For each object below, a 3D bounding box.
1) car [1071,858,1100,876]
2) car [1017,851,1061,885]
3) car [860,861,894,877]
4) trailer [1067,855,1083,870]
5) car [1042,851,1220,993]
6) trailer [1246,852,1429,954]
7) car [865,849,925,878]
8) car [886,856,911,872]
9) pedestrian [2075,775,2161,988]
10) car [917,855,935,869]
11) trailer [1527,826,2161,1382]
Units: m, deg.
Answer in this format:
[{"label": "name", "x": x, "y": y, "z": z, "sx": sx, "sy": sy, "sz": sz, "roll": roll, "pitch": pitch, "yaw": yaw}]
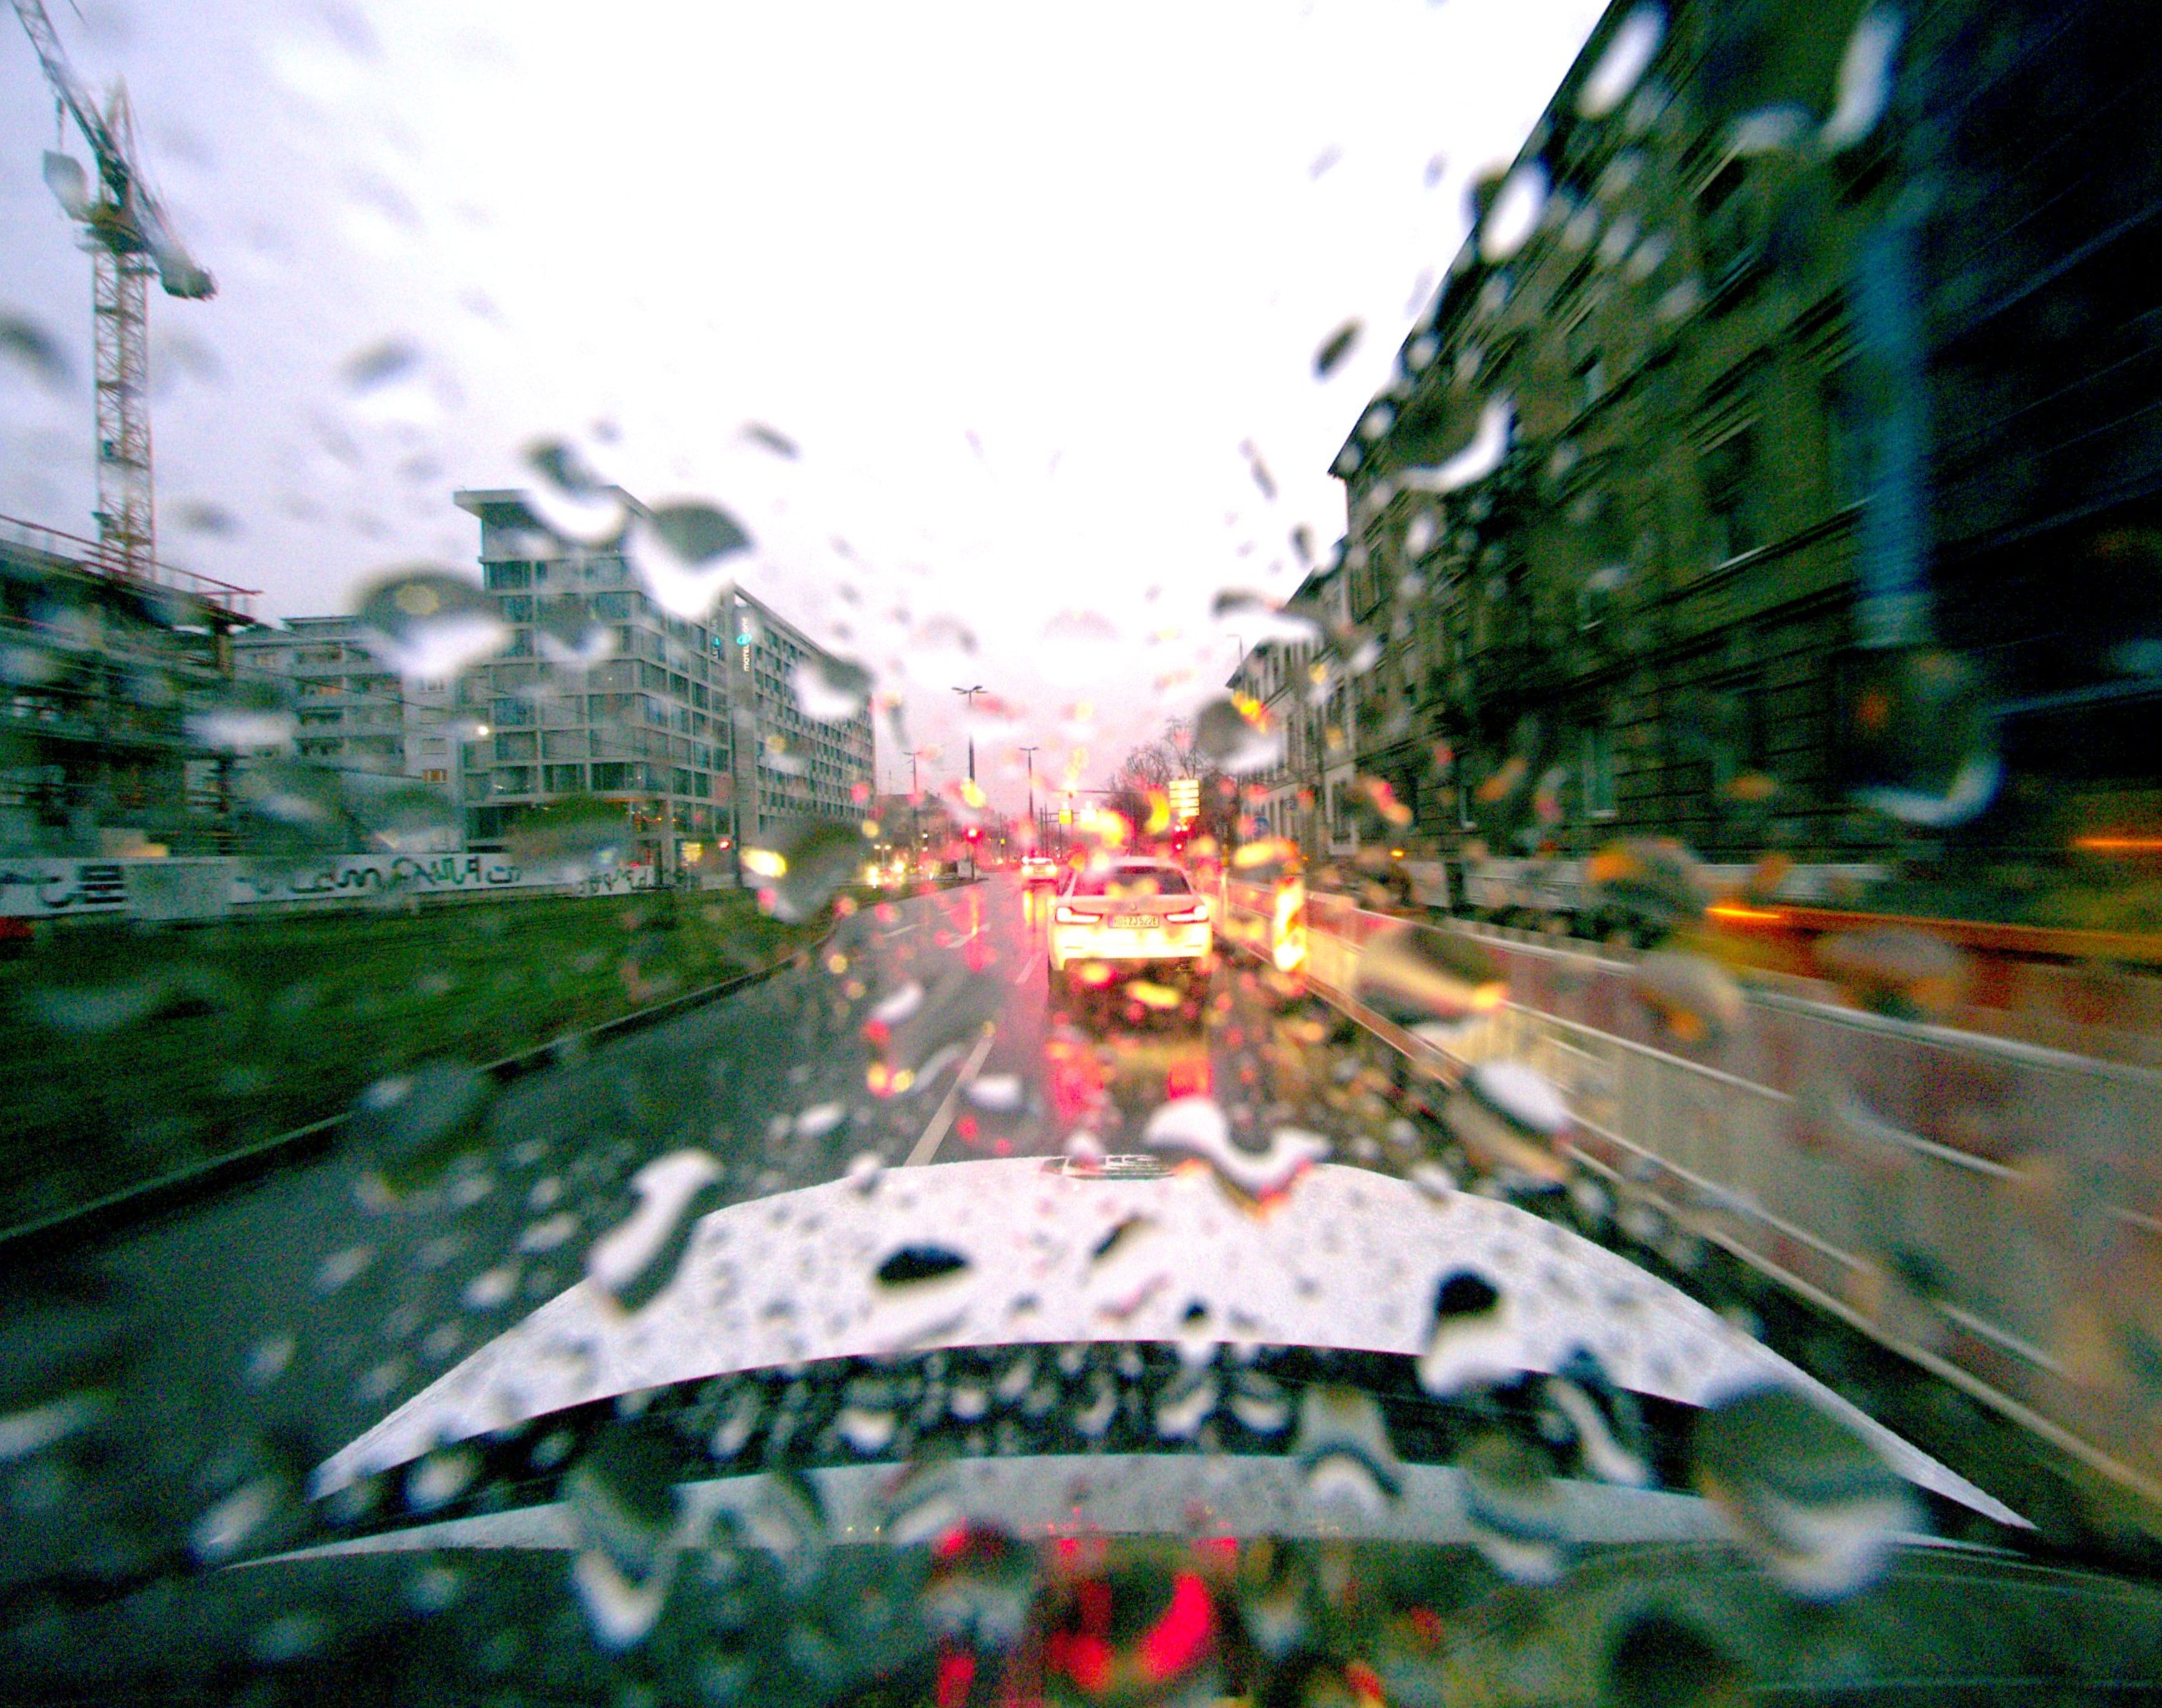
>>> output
[{"label": "car", "x": 0.426, "y": 1.235, "z": 80.077, "sx": 1.904, "sy": 1.642, "sz": 3.980, "roll": -1, "pitch": 0, "yaw": -15}, {"label": "car", "x": -2.078, "y": 0.666, "z": 41.009, "sx": 1.894, "sy": 1.642, "sz": 4.001, "roll": -1, "pitch": 0, "yaw": 1}, {"label": "car", "x": -19.188, "y": 1.411, "z": 76.534, "sx": 1.754, "sy": 1.492, "sz": 3.500, "roll": -1, "pitch": 0, "yaw": -42}, {"label": "trailer", "x": -0.786, "y": 0.998, "z": 97.263, "sx": 1.829, "sy": 1.643, "sz": 3.998, "roll": -1, "pitch": 0, "yaw": -1}, {"label": "car", "x": 0.550, "y": 0.709, "z": 10.991, "sx": 1.846, "sy": 1.465, "sz": 4.947, "roll": -1, "pitch": 0, "yaw": 0}, {"label": "trailer", "x": 3.909, "y": 0.679, "z": 13.028, "sx": 1.844, "sy": 1.346, "sz": 3.529, "roll": -2, "pitch": 0, "yaw": 1}, {"label": "car", "x": -13.299, "y": 0.657, "z": 58.187, "sx": 3.997, "sy": 1.975, "sz": 1.988, "roll": -1, "pitch": 0, "yaw": -18}, {"label": "car", "x": -19.496, "y": 1.076, "z": 87.228, "sx": 1.853, "sy": 1.640, "sz": 4.028, "roll": -1, "pitch": 0, "yaw": -2}, {"label": "pedestrian", "x": 8.565, "y": 0.191, "z": 6.367, "sx": 0.708, "sy": 1.621, "sz": 0.651, "roll": -3, "pitch": 0, "yaw": 1}, {"label": "car", "x": -19.056, "y": 0.938, "z": 100.262, "sx": 1.555, "sy": 1.659, "sz": 3.394, "roll": -1, "pitch": 0, "yaw": -1}, {"label": "trailer", "x": 3.838, "y": 0.654, "z": 2.964, "sx": 1.828, "sy": 1.490, "sz": 4.848, "roll": -2, "pitch": 0, "yaw": 1}]
